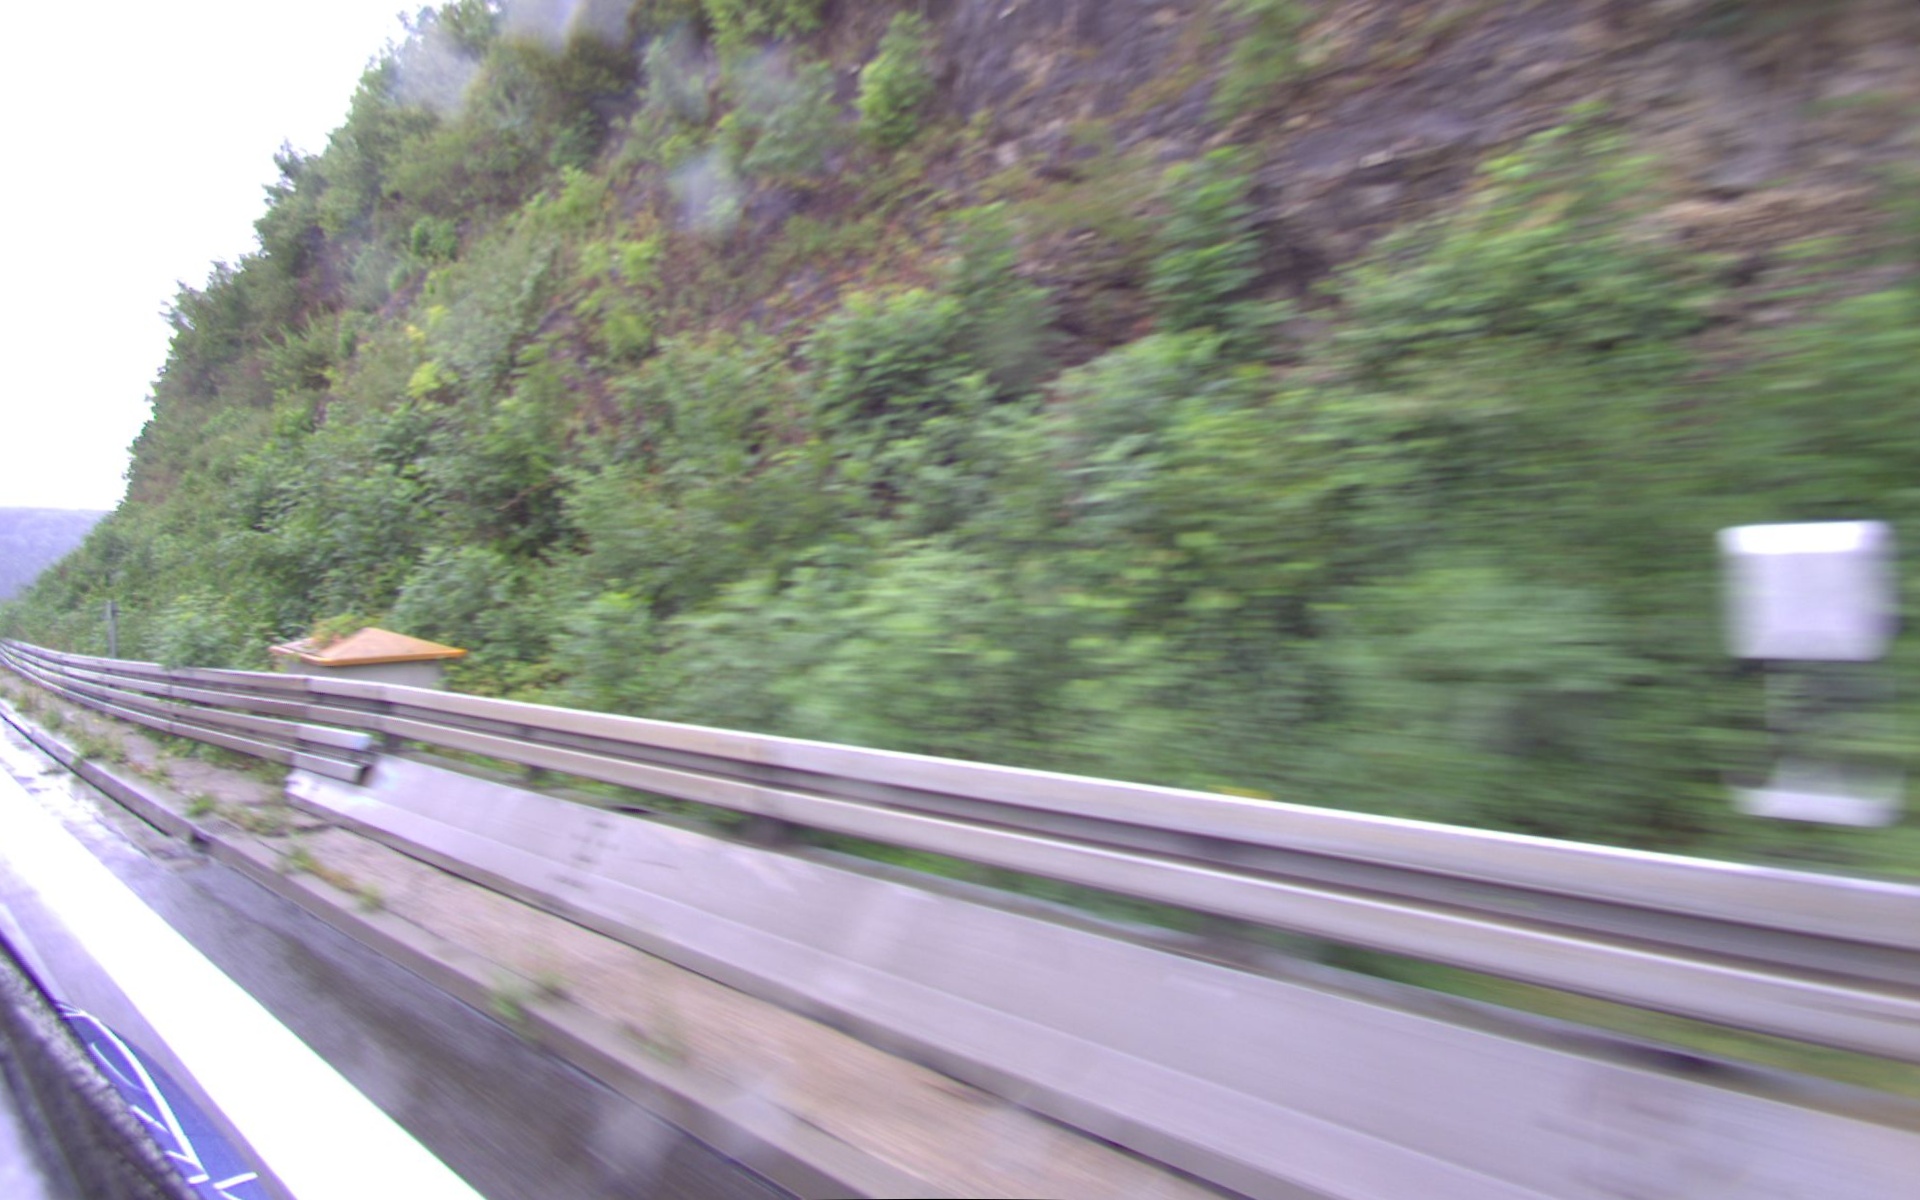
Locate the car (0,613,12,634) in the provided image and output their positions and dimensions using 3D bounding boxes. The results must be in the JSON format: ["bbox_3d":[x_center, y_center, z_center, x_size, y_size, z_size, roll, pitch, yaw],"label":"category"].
[{"bbox_3d":[-88.383,2.138,93.142,3.755,1.920,1.569,-1,-1,45],"label":"car"}]
